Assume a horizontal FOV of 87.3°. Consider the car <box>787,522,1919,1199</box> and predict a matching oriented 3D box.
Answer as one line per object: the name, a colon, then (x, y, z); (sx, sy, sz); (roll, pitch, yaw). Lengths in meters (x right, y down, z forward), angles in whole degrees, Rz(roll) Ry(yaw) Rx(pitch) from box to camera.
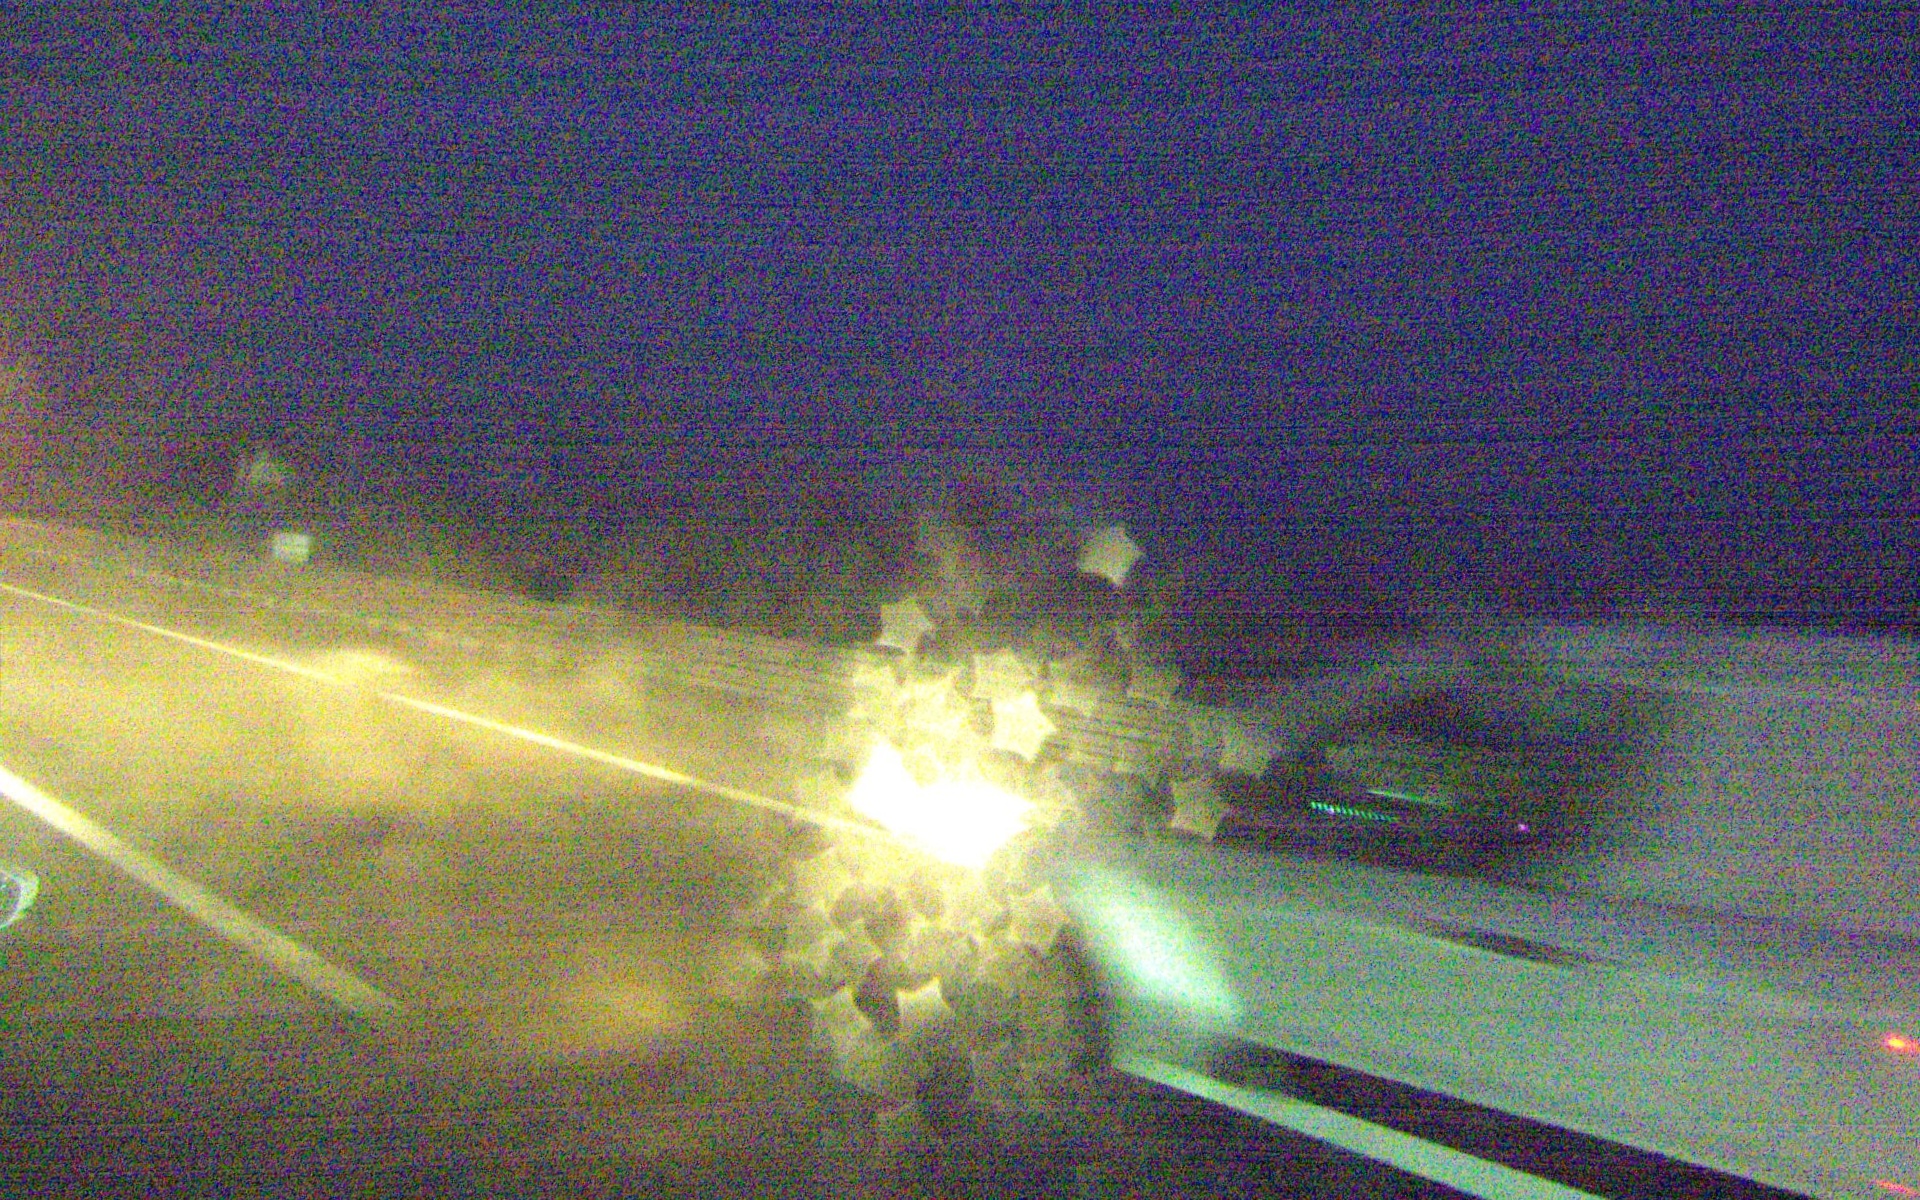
car: (2.115, 0.945, 3.057); (5.041, 1.812, 1.957); (6, -2, 33)
